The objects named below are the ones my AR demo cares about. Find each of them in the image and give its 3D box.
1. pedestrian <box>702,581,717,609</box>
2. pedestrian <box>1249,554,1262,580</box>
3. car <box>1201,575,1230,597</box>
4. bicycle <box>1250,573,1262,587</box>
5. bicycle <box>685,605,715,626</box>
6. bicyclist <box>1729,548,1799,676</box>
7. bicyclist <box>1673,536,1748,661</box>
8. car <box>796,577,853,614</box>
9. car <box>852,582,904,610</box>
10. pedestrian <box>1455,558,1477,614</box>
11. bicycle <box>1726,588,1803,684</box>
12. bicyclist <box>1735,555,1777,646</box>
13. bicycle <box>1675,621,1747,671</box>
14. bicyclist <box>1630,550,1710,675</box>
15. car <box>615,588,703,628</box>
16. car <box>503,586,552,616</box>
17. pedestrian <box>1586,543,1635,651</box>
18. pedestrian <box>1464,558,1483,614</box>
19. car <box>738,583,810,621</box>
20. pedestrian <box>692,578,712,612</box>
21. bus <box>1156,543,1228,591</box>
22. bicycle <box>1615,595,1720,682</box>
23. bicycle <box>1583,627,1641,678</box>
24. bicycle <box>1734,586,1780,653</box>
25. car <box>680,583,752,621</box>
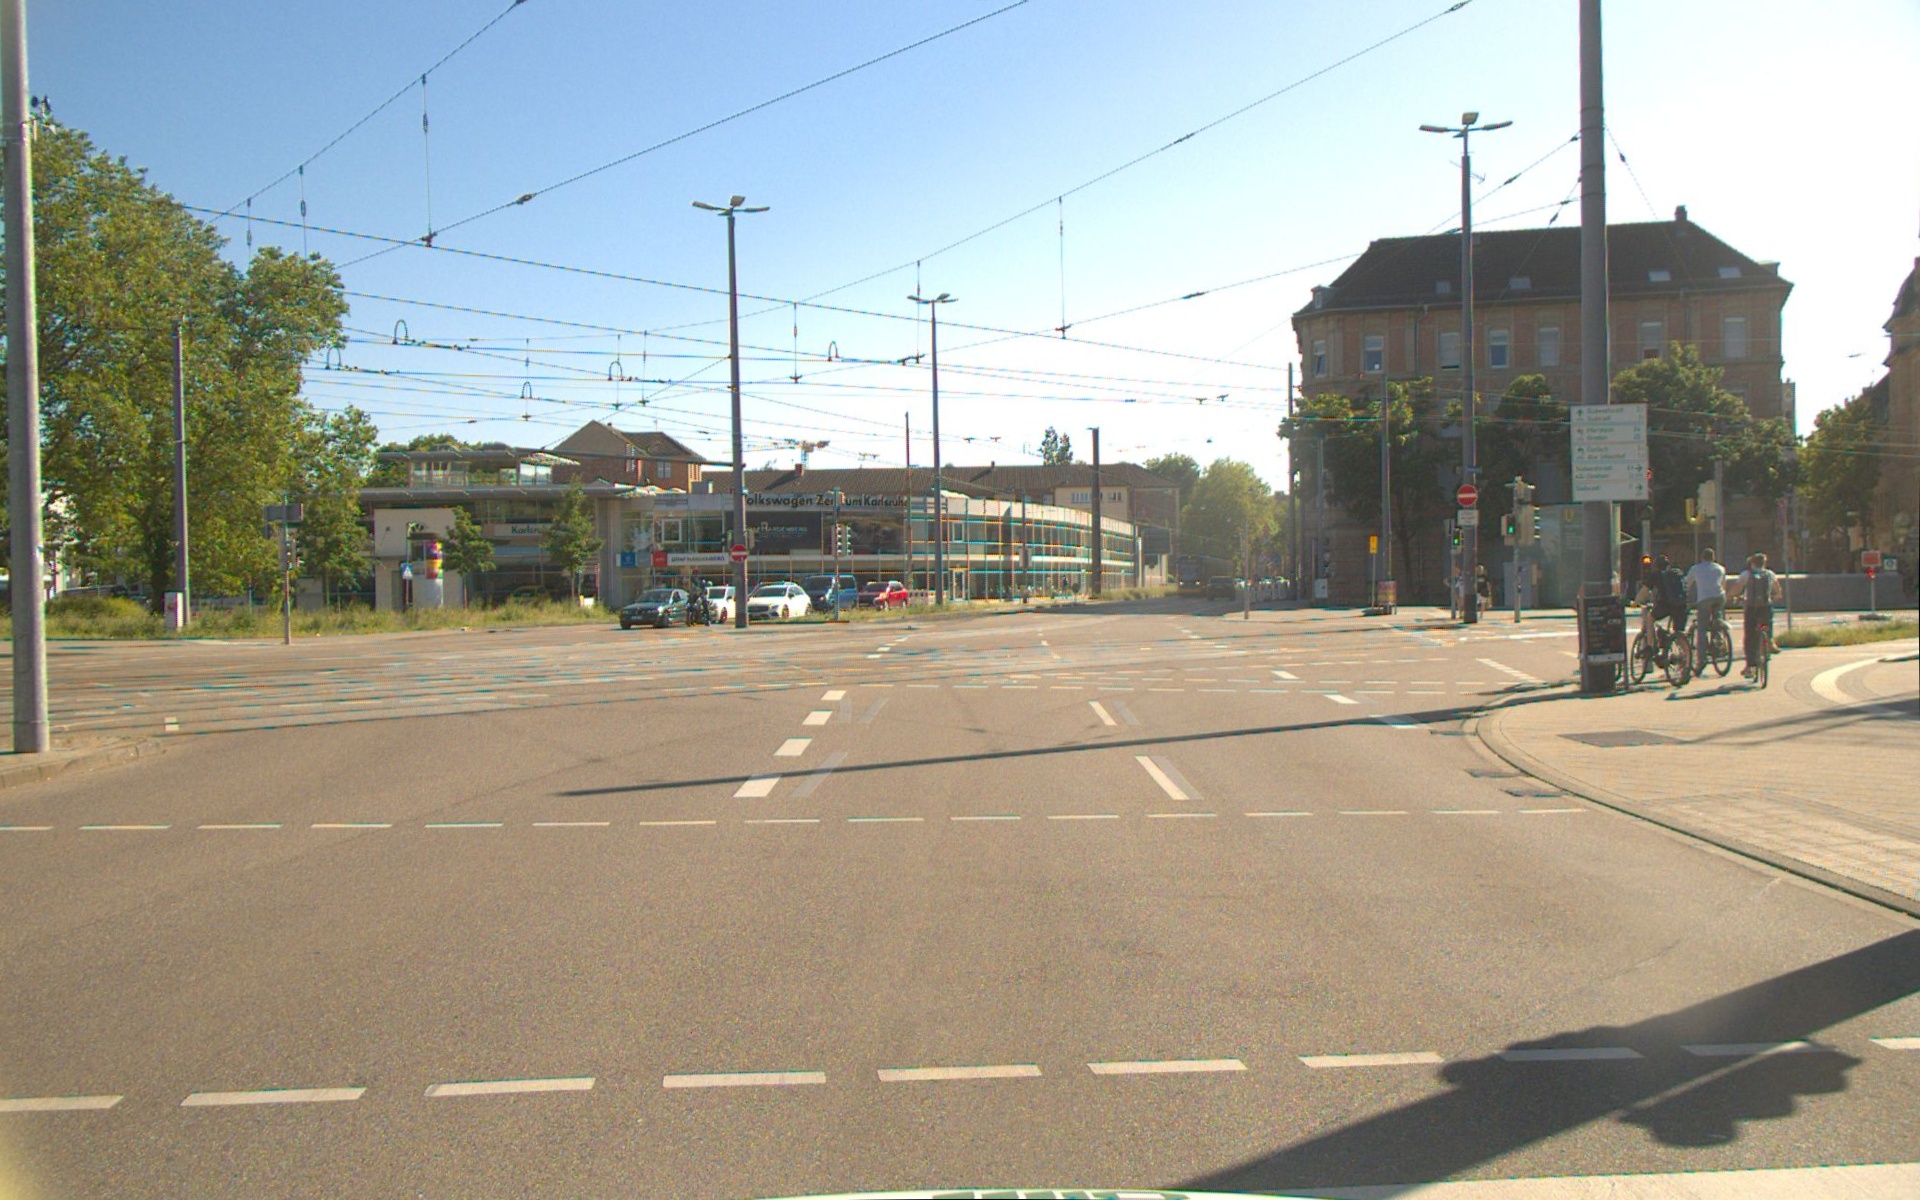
[{"bbox_3d":[-11.107,-0.231,73.353,0.414,1.225,0.681,-1,0,17],"label":"pedestrian"},{"bbox_3d":[19.320,-2.134,108.140,0.785,1.660,0.719,-1,0,11],"label":"pedestrian"},{"bbox_3d":[18.158,-1.007,117.488,1.663,1.529,4.268,-1,1,14],"label":"car"},{"bbox_3d":[19.278,-1.325,107.623,0.727,0.885,1.933,-1,0,11],"label":"bicycle"},{"bbox_3d":[-9.436,0.559,60.100,0.413,0.730,1.636,-1,1,16],"label":"bicycle"},{"bbox_3d":[10.602,0.151,21.842,0.671,1.626,0.977,-2,0,20],"label":"bicyclist"},{"bbox_3d":[11.192,-0.028,24.686,0.731,1.809,0.925,-2,0,6],"label":"bicyclist"},{"bbox_3d":[-6.426,-0.235,78.849,1.591,1.722,3.689,-1,1,14],"label":"car"},{"bbox_3d":[-4.249,-0.199,86.009,1.591,1.388,3.688,-1,1,16],"label":"car"},{"bbox_3d":[18.481,-0.512,60.410,0.564,2.049,0.449,-1,1,-19],"label":"pedestrian"},{"bbox_3d":[10.640,0.449,21.919,0.671,1.184,1.884,-2,0,20],"label":"bicycle"},{"bbox_3d":[14.177,0.004,29.472,0.559,1.596,0.947,0,1,20],"label":"bicyclist"},{"bbox_3d":[11.213,0.680,24.728,0.525,0.667,1.469,-2,1,6],"label":"bicycle"},{"bbox_3d":[9.811,0.168,22.881,0.613,1.666,0.995,-2,0,-1],"label":"bicyclist"},{"bbox_3d":[-11.012,0.264,60.689,1.667,1.378,3.703,-1,1,16],"label":"car"},{"bbox_3d":[-25.979,0.049,99.463,1.926,1.735,4.083,-1,1,-1],"label":"car"},{"bbox_3d":[9.766,-0.043,24.850,0.536,1.590,0.859,-1,0,13],"label":"pedestrian"},{"bbox_3d":[18.915,-0.507,60.936,0.453,2.049,0.449,-1,1,-18],"label":"pedestrian"},{"bbox_3d":[-7.237,0.076,64.820,1.591,1.406,3.741,-1,1,14],"label":"car"},{"bbox_3d":[-9.405,-0.198,60.258,0.413,1.225,0.750,-1,0,16],"label":"pedestrian"},{"bbox_3d":[20.774,-2.762,146.131,3.755,3.670,24.885,1,0,14],"label":"bus"},{"bbox_3d":[9.820,0.517,23.033,0.613,1.133,1.850,-2,0,-1],"label":"bicycle"},{"bbox_3d":[9.853,0.786,25.026,0.525,0.667,1.727,-4,0,13],"label":"bicycle"},{"bbox_3d":[14.162,0.325,29.417,0.559,1.145,1.741,0,1,20],"label":"bicycle"},{"bbox_3d":[-9.789,0.047,66.663,1.591,1.448,3.689,-1,1,14],"label":"car"}]
